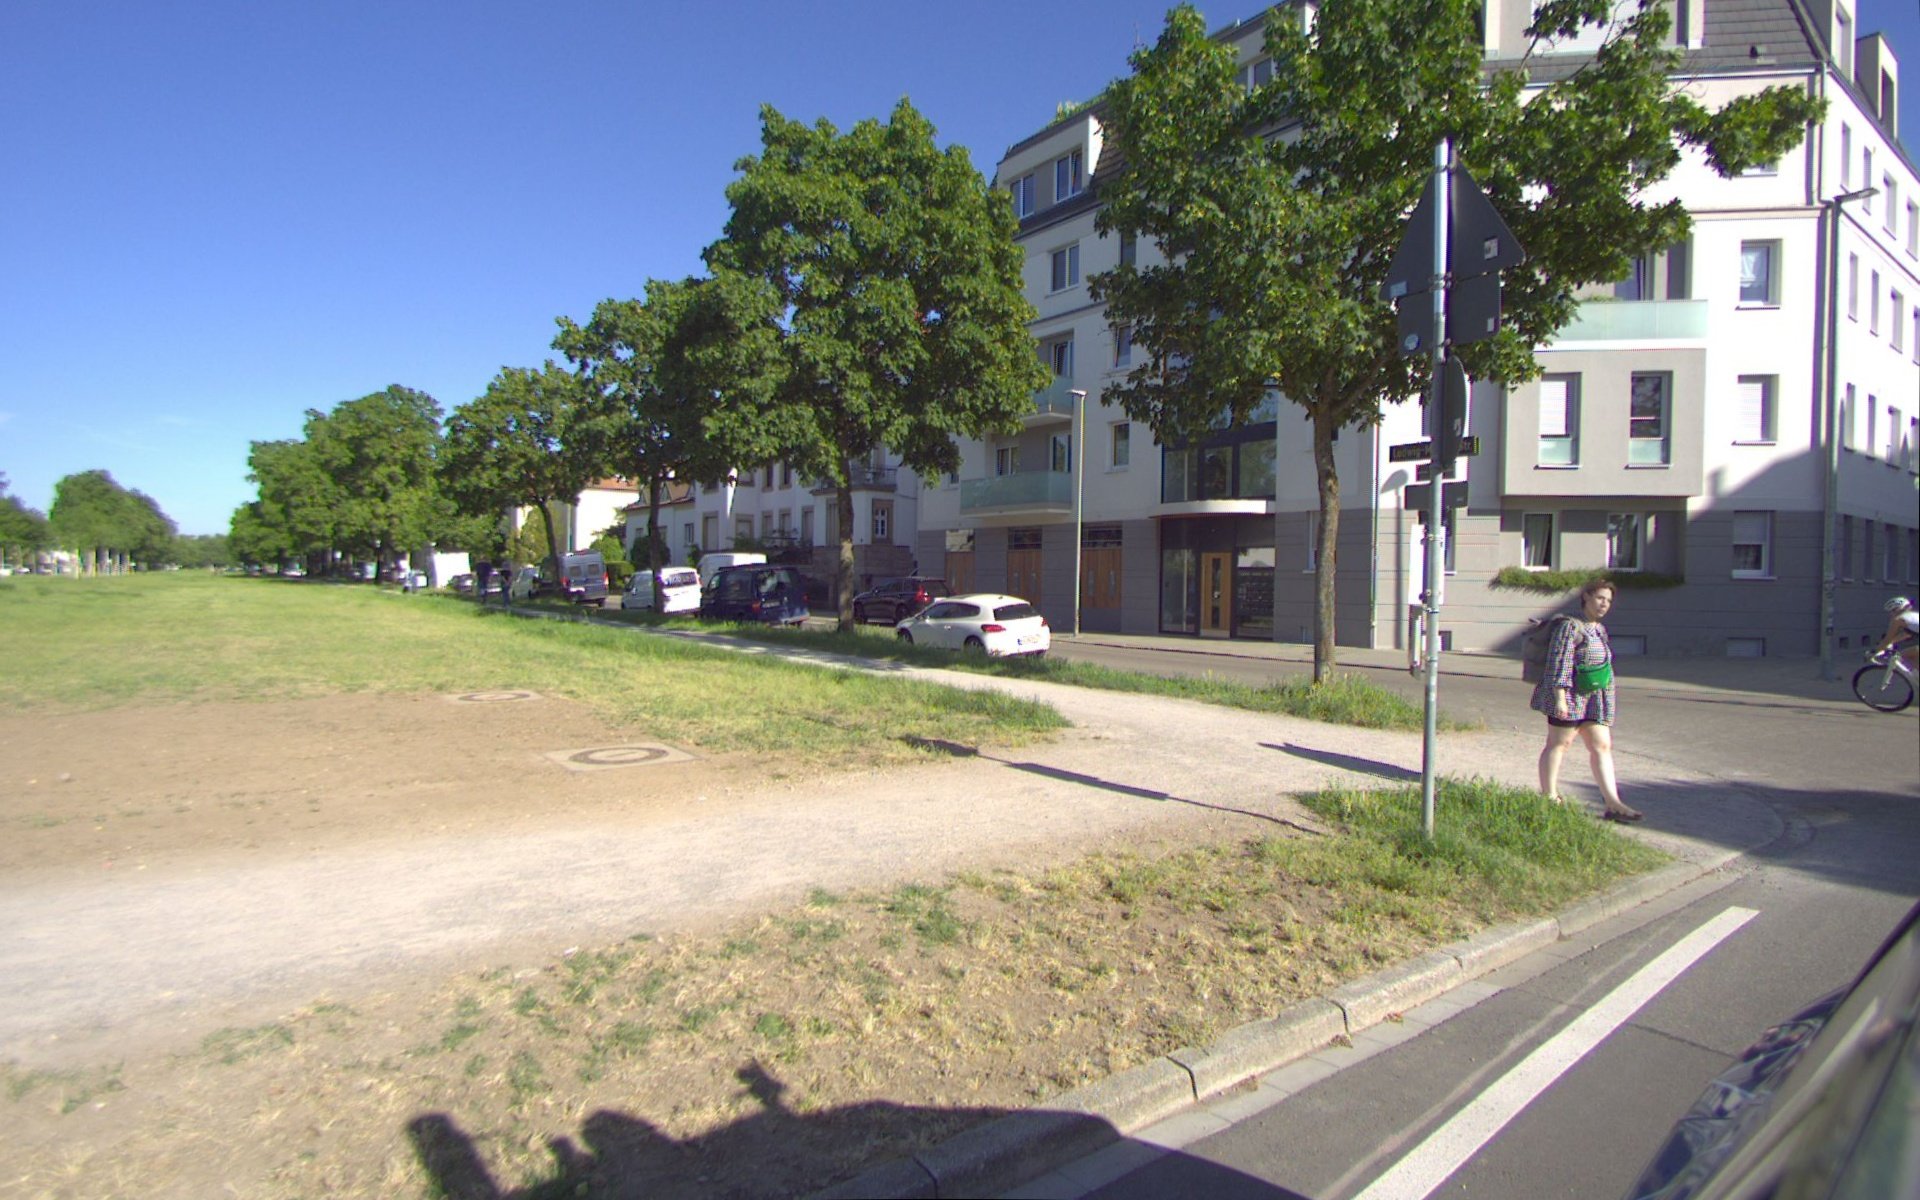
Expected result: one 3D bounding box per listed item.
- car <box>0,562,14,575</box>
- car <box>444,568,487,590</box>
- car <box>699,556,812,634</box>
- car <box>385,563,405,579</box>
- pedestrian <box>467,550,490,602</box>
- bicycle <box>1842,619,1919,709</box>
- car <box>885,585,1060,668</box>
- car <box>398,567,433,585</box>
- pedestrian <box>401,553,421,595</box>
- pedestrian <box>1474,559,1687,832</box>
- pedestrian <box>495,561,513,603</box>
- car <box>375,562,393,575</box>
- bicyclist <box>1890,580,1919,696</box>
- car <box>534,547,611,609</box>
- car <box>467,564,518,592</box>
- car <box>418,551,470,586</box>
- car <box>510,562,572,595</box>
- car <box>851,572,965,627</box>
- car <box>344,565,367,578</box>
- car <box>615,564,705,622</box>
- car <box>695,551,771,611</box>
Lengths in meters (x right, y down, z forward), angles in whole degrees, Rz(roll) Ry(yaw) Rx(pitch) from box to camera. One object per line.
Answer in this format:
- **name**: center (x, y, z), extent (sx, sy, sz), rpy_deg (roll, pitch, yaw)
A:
- **car**: center (-108.834, -3.582, 114.834), extent (1.689, 1.358, 3.809), rpy_deg (0, 2, -36)
- **car**: center (-32.880, -1.384, 67.223), extent (1.898, 1.361, 4.110), rpy_deg (0, 2, -35)
- **car**: center (-6.195, -0.216, 30.359), extent (1.752, 2.108, 3.995), rpy_deg (-5, 4, -35)
- **car**: center (-74.164, -3.818, 132.746), extent (1.830, 1.868, 3.995), rpy_deg (2, 1, -35)
- **pedestrian**: center (-17.561, -0.876, 36.912), extent (0.632, 1.900, 0.629), rpy_deg (0, 1, -38)
- **bicycle**: center (12.449, 0.842, 12.927), extent (0.498, 1.102, 1.708), rpy_deg (0, 1, -37)
- **car**: center (0.176, 0.489, 21.965), extent (1.708, 1.450, 3.994), rpy_deg (-5, 5, -36)
- **car**: center (-45.754, -2.038, 84.994), extent (2.042, 1.484, 4.728), rpy_deg (0, 2, -35)
- **pedestrian**: center (-25.135, -1.193, 46.322), extent (0.711, 1.900, 0.629), rpy_deg (0, 1, -38)
- **pedestrian**: center (4.455, 0.610, 7.267), extent (1.085, 1.693, 0.902), rpy_deg (7, 5, 36)
- **pedestrian**: center (-16.735, -0.675, 37.171), extent (0.487, 1.524, 0.535), rpy_deg (1, 1, -37)
- **car**: center (-81.684, -4.499, 143.425), extent (1.830, 1.868, 3.995), rpy_deg (0, 1, -35)
- **bicyclist**: center (12.445, 0.486, 12.941), extent (0.488, 1.482, 0.688), rpy_deg (0, 1, -31)
- **car**: center (-17.800, -1.056, 46.377), extent (2.153, 2.615, 4.289), rpy_deg (-5, 4, -35)
- **car**: center (-28.228, -1.331, 60.989), extent (2.046, 1.618, 4.289), rpy_deg (0, 2, -35)
- **car**: center (-36.954, -2.242, 72.399), extent (2.503, 2.363, 5.920), rpy_deg (0, 2, -35)
- **car**: center (-21.647, -1.125, 52.170), extent (2.046, 1.618, 4.289), rpy_deg (0, 2, -35)
- **car**: center (-1.829, -0.074, 34.397), extent (1.861, 1.703, 4.289), rpy_deg (-1, 3, -35)
- **car**: center (-72.714, -3.404, 121.679), extent (2.042, 1.484, 4.728), rpy_deg (0, 2, -35)
- **car**: center (-11.040, -0.329, 37.066), extent (1.841, 1.906, 4.426), rpy_deg (-5, 4, -34)
- **car**: center (-10.360, -0.906, 46.100), extent (1.985, 2.580, 3.995), rpy_deg (-1, 2, -35)
